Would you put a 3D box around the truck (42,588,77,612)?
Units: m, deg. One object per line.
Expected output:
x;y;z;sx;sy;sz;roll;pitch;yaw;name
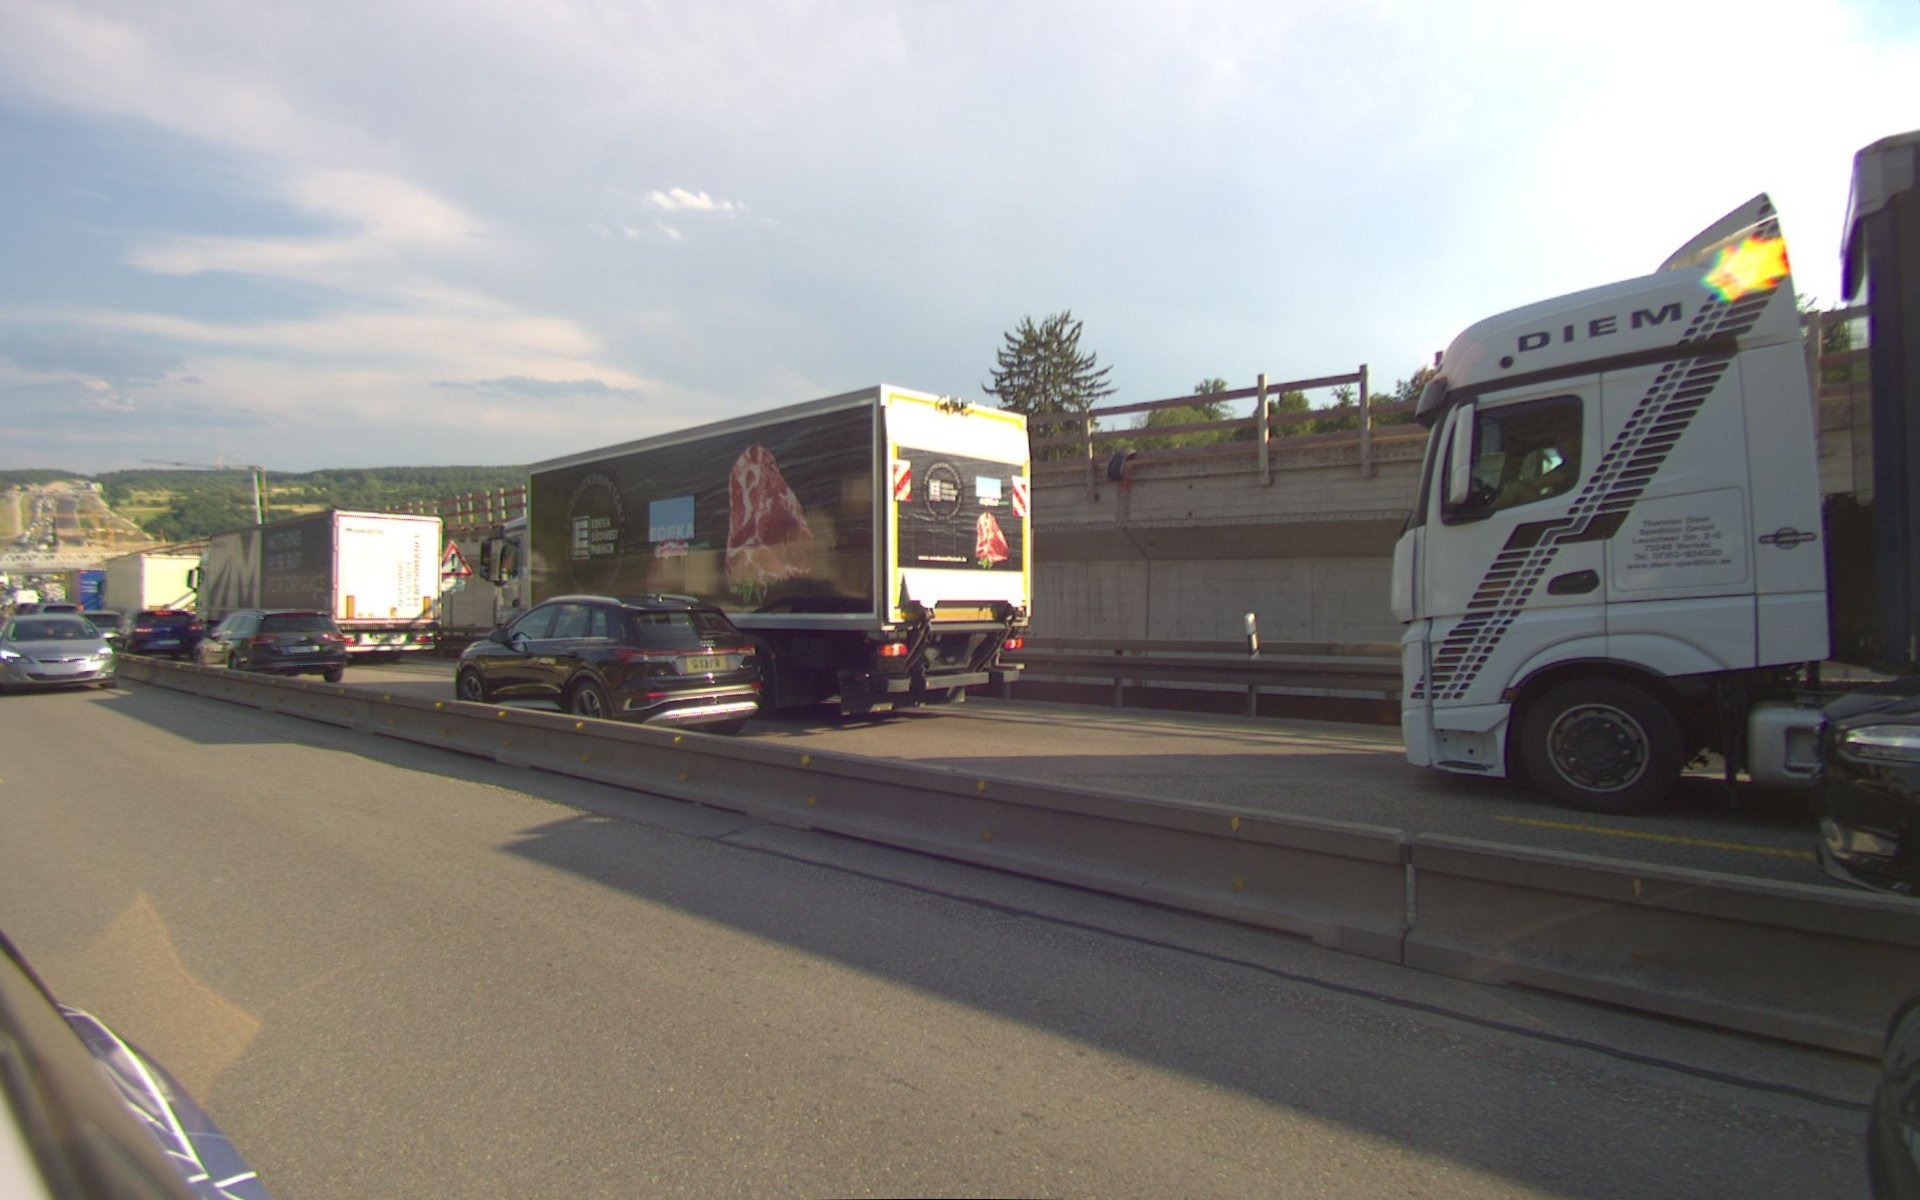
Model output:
-122.473;0.022;137.601;6.493;3.169;3.198;0;0;45;truck

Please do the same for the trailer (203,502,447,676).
-19.512;-0.273;30.405;13.833;4.235;2.746;0;0;43;trailer

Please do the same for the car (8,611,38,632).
-75.640;1.708;81.665;1.679;1.588;4.372;0;0;-45;car

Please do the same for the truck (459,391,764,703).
-6.114;-0.782;17.509;5.026;4.548;2.889;0;0;42;truck

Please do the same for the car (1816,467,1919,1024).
5.643;0.529;2.862;4.896;1.978;1.814;1;1;41;car

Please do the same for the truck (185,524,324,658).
-24.528;-0.284;35.074;6.115;4.235;2.734;0;0;43;truck

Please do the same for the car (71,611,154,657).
-32.116;1.236;38.299;4.814;1.467;1.755;1;2;42;car

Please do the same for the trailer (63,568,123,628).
-63.414;-0.155;73.930;2.783;4.136;8.292;0;0;-45;trailer

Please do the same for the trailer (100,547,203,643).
-41.653;-0.246;51.875;13.780;4.352;2.428;0;0;44;trailer

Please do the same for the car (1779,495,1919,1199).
3.535;0.630;0.183;5.219;1.491;1.920;0;-1;41;car

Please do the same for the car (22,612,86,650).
-46.201;1.529;51.564;4.975;1.667;1.986;1;3;43;car

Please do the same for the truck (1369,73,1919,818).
5.832;-0.843;6.980;5.026;4.146;2.721;-1;-1;39;truck

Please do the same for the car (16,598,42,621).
-106.124;1.072;115.347;1.973;2.636;5.618;1;-1;-44;car

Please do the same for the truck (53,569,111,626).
-70.038;-0.178;80.656;2.783;4.290;10.587;0;0;-45;truck

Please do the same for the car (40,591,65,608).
-114.102;-0.093;127.233;2.184;2.037;3.976;-5;3;-43;car

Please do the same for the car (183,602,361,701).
-13.938;0.930;20.388;4.745;1.598;1.843;1;4;42;car

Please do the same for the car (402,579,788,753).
-4.490;0.647;11.912;5.365;1.618;1.857;0;-2;41;car

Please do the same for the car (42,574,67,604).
-165.978;-1.947;185.422;3.279;5.427;14.315;0;0;-42;car

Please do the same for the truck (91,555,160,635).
-47.539;-0.259;57.627;5.475;4.348;2.428;0;0;44;truck

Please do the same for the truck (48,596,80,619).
-98.226;0.817;110.927;2.248;2.318;6.069;-5;3;-43;truck

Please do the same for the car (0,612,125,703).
-17.740;1.025;19.569;4.116;1.498;1.787;0;1;41;car

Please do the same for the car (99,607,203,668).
-24.205;1.054;30.227;4.479;1.562;1.748;1;2;42;car

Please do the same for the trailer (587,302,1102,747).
-1.891;-0.774;13.712;7.150;4.499;2.881;0;1;42;trailer

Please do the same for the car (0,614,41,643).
-59.607;1.764;63.917;4.732;1.618;1.860;0;3;43;car
